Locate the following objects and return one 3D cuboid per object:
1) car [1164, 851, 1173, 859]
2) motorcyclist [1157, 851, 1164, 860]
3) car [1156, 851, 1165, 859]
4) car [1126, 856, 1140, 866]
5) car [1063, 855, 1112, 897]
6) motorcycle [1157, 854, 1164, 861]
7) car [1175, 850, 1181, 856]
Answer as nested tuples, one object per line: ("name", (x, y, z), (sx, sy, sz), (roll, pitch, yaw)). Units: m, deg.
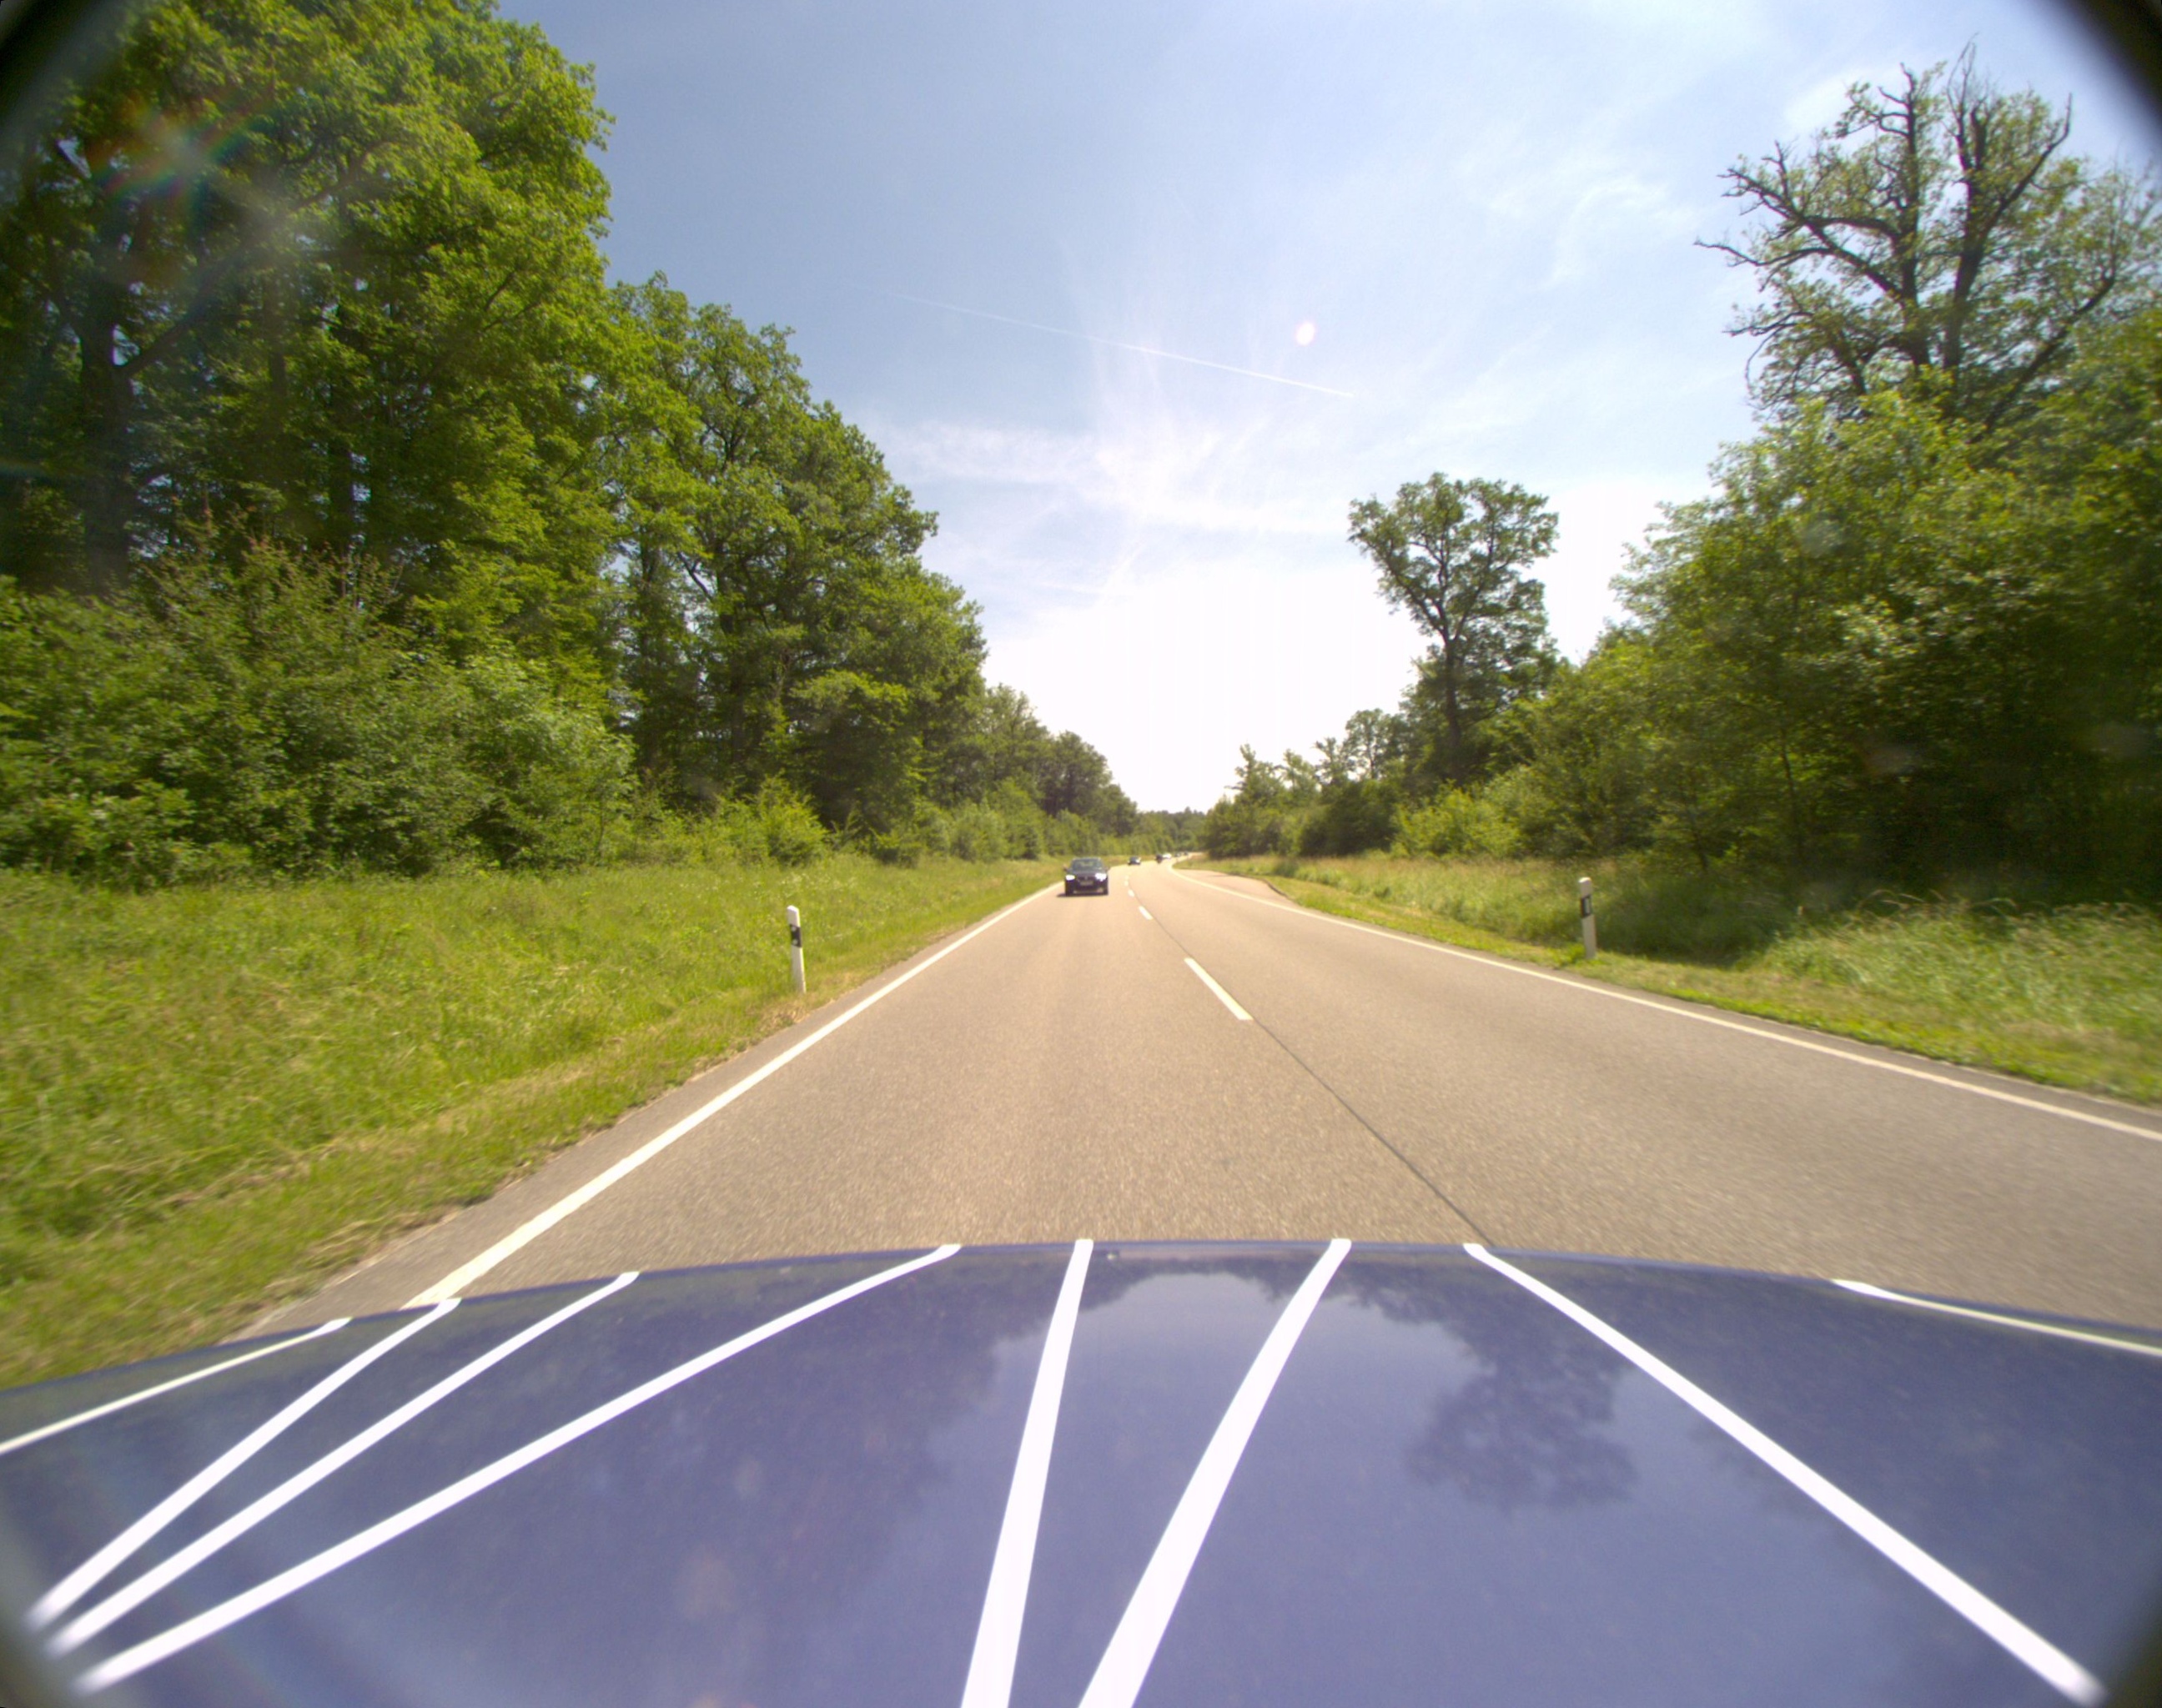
("car", (22.325, 0.244, 193.723), (2.018, 1.737, 4.383), (-2, 0, 9))
("motorcyclist", (12.534, 0.189, 120.339), (1.011, 1.319, 0.966), (-2, 1, 7))
("car", (17.454, 0.212, 165.792), (1.775, 1.454, 4.002), (-2, 0, 8))
("car", (8.038, 1.112, 117.149), (1.775, 1.454, 3.951), (-2, 0, 9))
("car", (0.326, 0.870, 31.721), (1.713, 1.516, 4.243), (-3, 0, 4))
("motorcycle", (12.533, 0.540, 120.387), (1.016, 1.056, 2.774), (-1, 0, 7))
("car", (28.850, -0.240, 225.820), (1.691, 1.718, 4.003), (-2, 1, 11))
